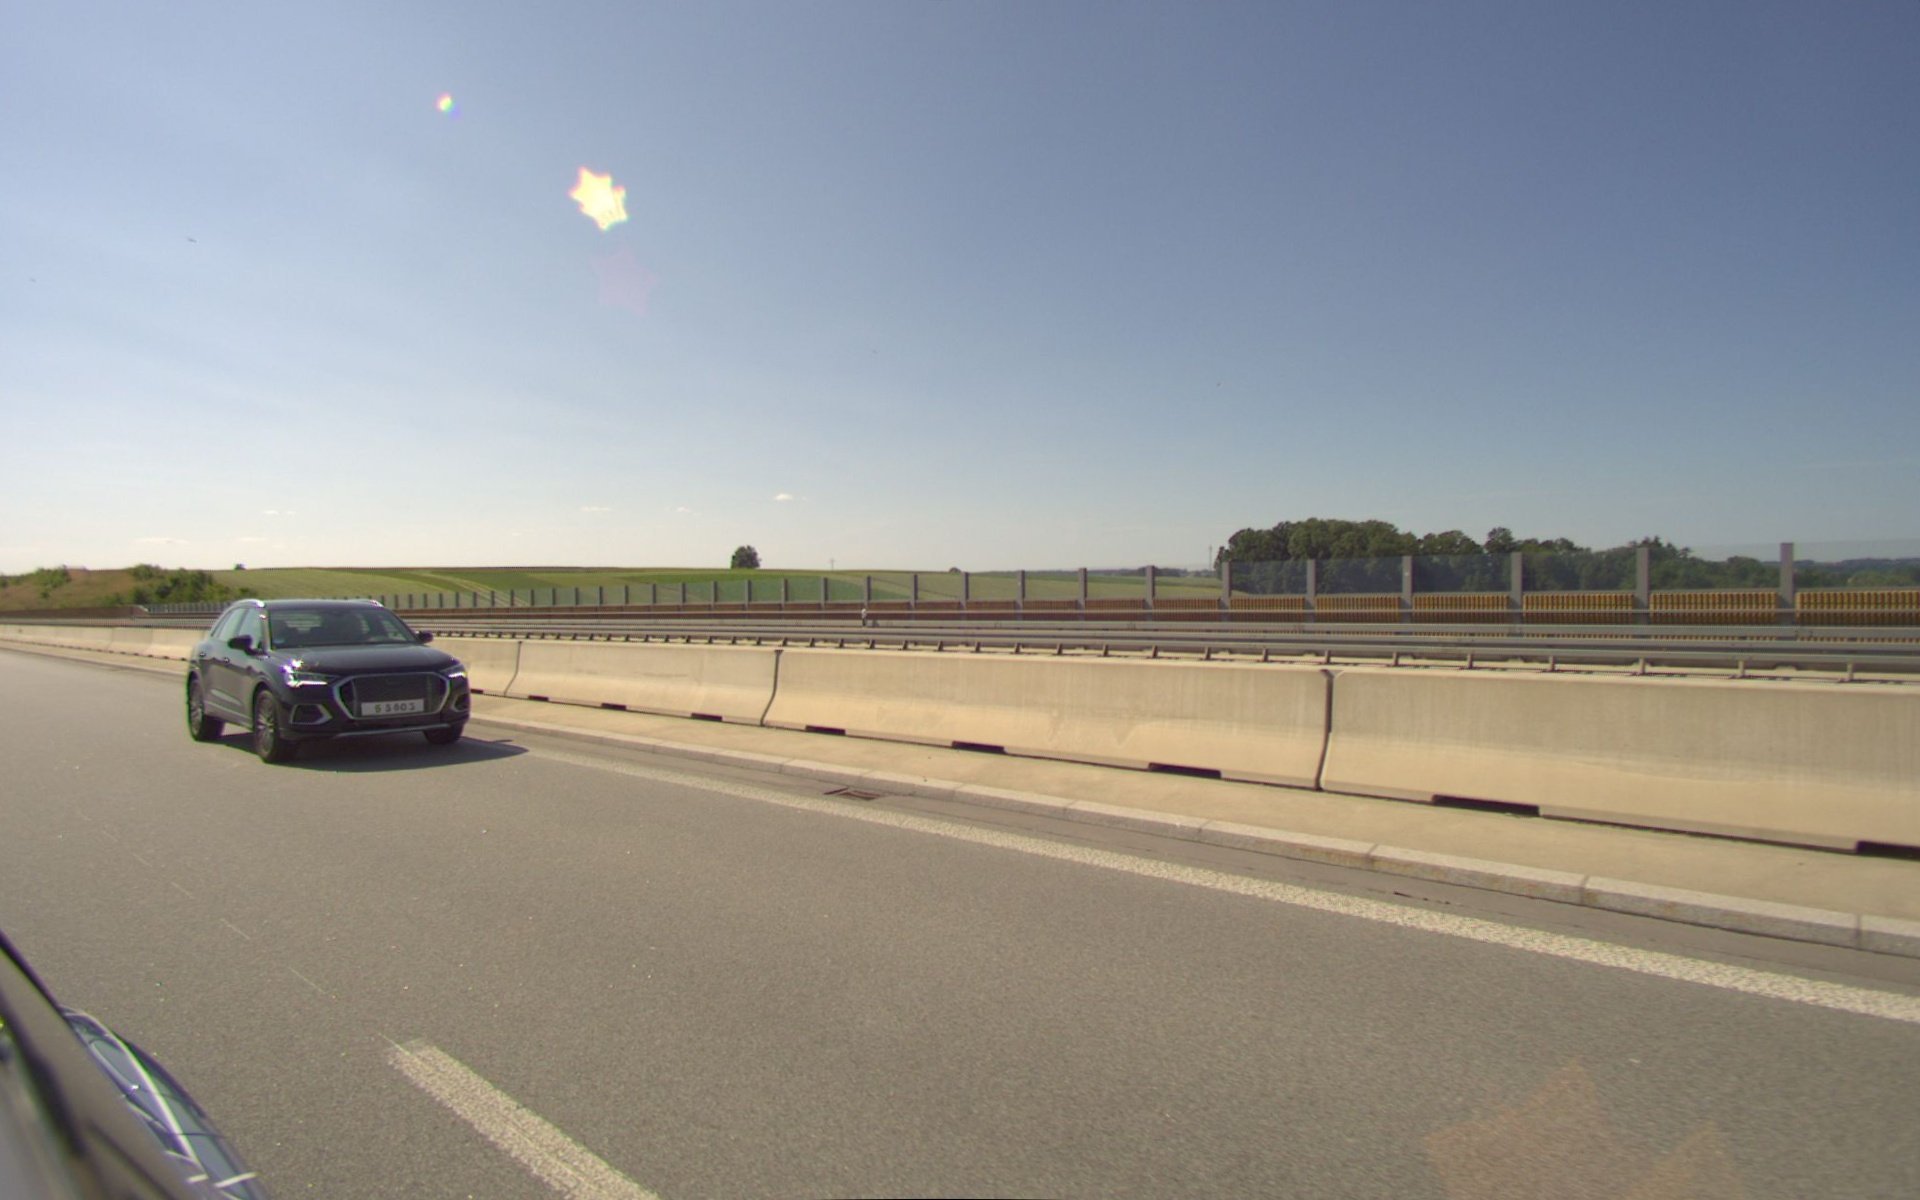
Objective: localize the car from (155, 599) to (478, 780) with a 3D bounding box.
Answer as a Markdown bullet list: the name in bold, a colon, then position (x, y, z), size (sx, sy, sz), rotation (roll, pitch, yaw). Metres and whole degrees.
- **car**: position (-7.431, 0.829, 11.415), size (5.220, 1.599, 1.704), rotation (-1, 0, 42)
